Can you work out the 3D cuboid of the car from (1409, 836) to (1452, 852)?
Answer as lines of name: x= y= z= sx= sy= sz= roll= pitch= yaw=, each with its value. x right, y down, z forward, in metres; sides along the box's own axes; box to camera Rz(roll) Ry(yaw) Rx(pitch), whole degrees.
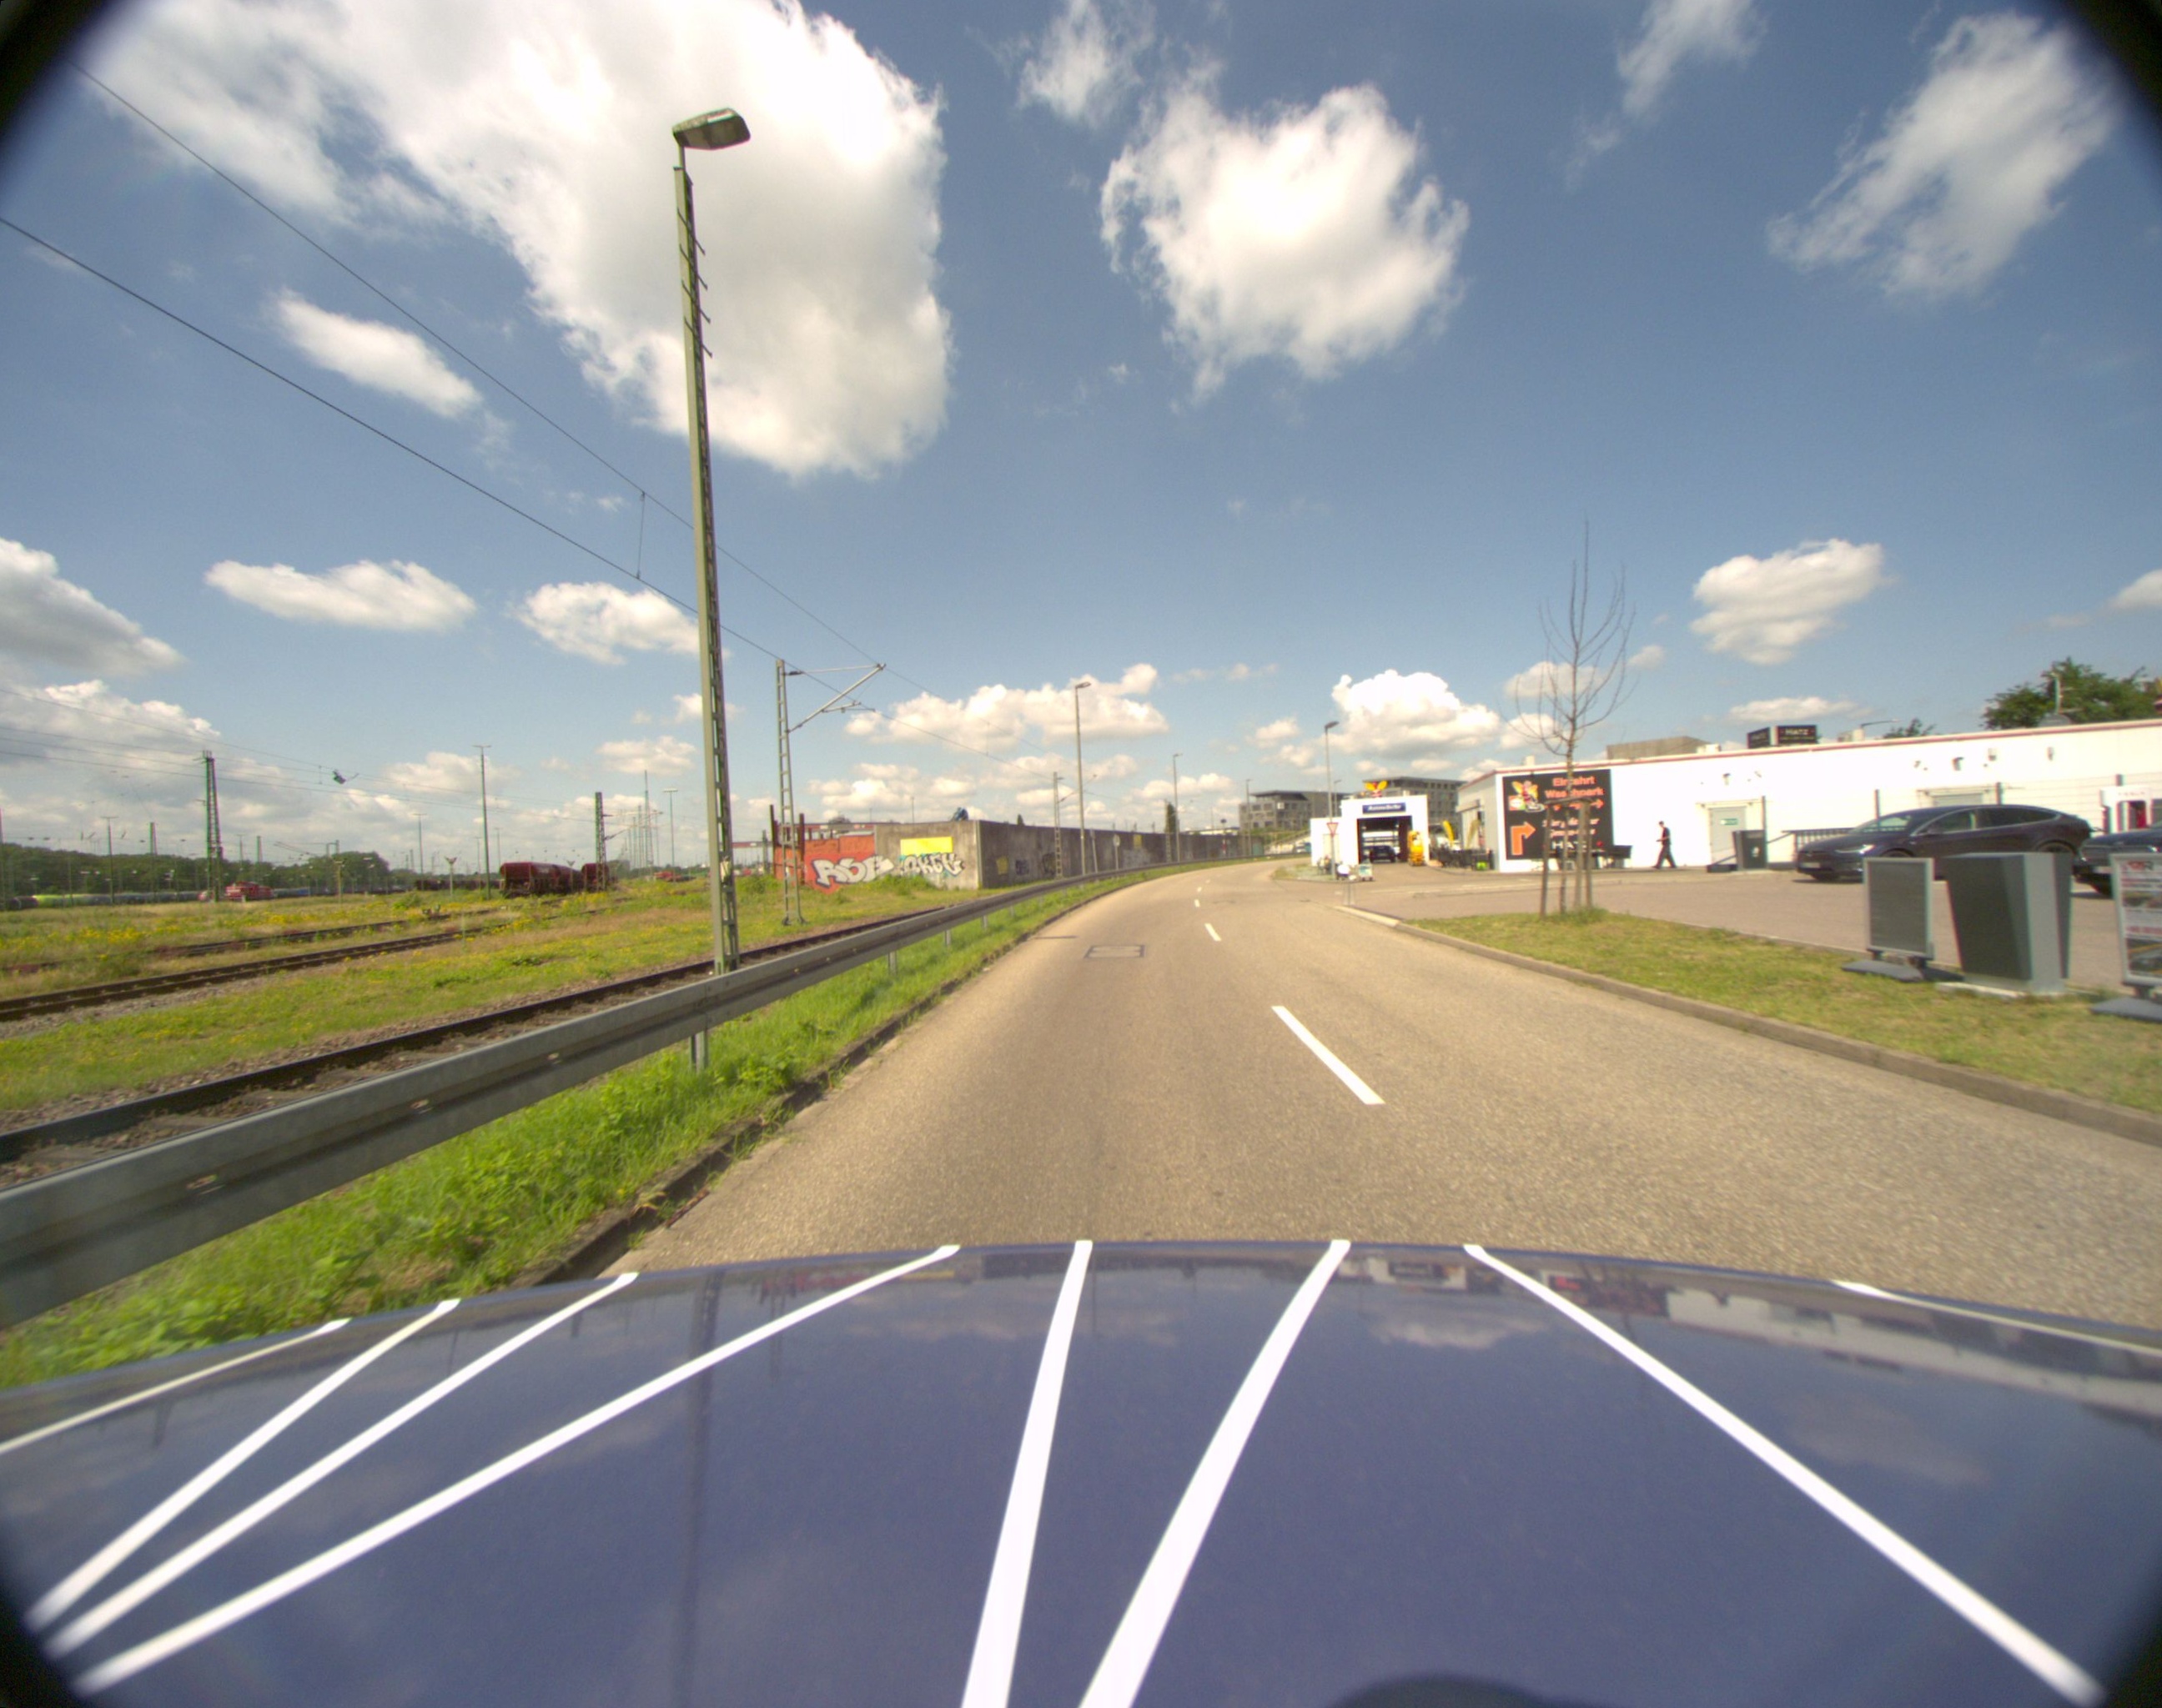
car: x=43.382 y=-1.202 z=94.431 sx=2.003 sy=1.822 sz=4.404 roll=-3 pitch=1 yaw=-33

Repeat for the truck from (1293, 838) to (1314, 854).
truck: x=52.114 y=-1.868 z=178.222 sx=2.654 sy=3.625 sz=6.887 roll=-4 pitch=1 yaw=-1

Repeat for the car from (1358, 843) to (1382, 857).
car: x=31.901 y=-0.437 z=83.895 sx=1.920 sy=1.369 sz=4.796 roll=-3 pitch=0 yaw=15

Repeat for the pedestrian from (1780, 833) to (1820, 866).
pedestrian: x=27.144 y=-0.174 z=28.690 sx=0.711 sy=1.159 sz=0.843 roll=-3 pitch=2 yaw=2

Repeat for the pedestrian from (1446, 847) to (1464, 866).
pedestrian: x=22.346 y=0.134 z=45.427 sx=0.820 sy=1.104 sz=0.756 roll=-3 pitch=0 yaw=18

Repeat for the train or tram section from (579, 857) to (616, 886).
train or tram section: x=-66.780 y=2.412 z=105.192 sx=3.210 sy=3.695 sz=12.525 roll=-3 pitch=0 yaw=-28

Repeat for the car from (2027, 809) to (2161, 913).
car: x=18.276 y=0.010 z=11.917 sx=3.994 sy=1.510 sz=2.001 roll=-3 pitch=1 yaw=8

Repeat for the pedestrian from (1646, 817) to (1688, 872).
pedestrian: x=22.382 y=-0.372 z=29.045 sx=0.940 sy=2.002 sz=0.865 roll=-3 pitch=2 yaw=5

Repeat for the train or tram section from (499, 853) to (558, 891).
train or tram section: x=-59.775 y=1.964 z=82.564 sx=3.306 sy=3.695 sz=12.525 roll=-3 pitch=0 yaw=-28

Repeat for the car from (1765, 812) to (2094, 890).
car: x=19.356 y=-0.053 z=17.592 sx=4.755 sy=1.447 sz=2.239 roll=-3 pitch=0 yaw=7

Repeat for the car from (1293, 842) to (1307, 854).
car: x=48.118 y=-1.306 z=166.852 sx=2.064 sy=2.512 sz=5.885 roll=-4 pitch=0 yaw=9

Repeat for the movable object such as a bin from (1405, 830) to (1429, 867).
movable object such as a bin: x=20.923 y=-0.379 z=47.351 sx=1.064 sy=2.140 sz=2.707 roll=-3 pitch=2 yaw=19

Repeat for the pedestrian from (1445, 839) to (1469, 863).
pedestrian: x=22.038 y=-0.176 z=44.496 sx=0.940 sy=1.300 sz=0.865 roll=-3 pitch=0 yaw=2

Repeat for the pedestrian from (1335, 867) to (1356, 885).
pedestrian: x=12.130 y=1.004 z=34.912 sx=0.863 sy=0.755 sz=0.819 roll=-3 pitch=0 yaw=17

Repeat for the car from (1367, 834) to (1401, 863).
car: x=22.875 y=-0.445 z=57.546 sx=1.996 sy=2.097 sz=5.016 roll=-2 pitch=1 yaw=18

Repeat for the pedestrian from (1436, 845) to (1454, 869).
pedestrian: x=19.615 y=0.148 z=40.974 sx=0.754 sy=1.249 sz=0.900 roll=-3 pitch=0 yaw=20
